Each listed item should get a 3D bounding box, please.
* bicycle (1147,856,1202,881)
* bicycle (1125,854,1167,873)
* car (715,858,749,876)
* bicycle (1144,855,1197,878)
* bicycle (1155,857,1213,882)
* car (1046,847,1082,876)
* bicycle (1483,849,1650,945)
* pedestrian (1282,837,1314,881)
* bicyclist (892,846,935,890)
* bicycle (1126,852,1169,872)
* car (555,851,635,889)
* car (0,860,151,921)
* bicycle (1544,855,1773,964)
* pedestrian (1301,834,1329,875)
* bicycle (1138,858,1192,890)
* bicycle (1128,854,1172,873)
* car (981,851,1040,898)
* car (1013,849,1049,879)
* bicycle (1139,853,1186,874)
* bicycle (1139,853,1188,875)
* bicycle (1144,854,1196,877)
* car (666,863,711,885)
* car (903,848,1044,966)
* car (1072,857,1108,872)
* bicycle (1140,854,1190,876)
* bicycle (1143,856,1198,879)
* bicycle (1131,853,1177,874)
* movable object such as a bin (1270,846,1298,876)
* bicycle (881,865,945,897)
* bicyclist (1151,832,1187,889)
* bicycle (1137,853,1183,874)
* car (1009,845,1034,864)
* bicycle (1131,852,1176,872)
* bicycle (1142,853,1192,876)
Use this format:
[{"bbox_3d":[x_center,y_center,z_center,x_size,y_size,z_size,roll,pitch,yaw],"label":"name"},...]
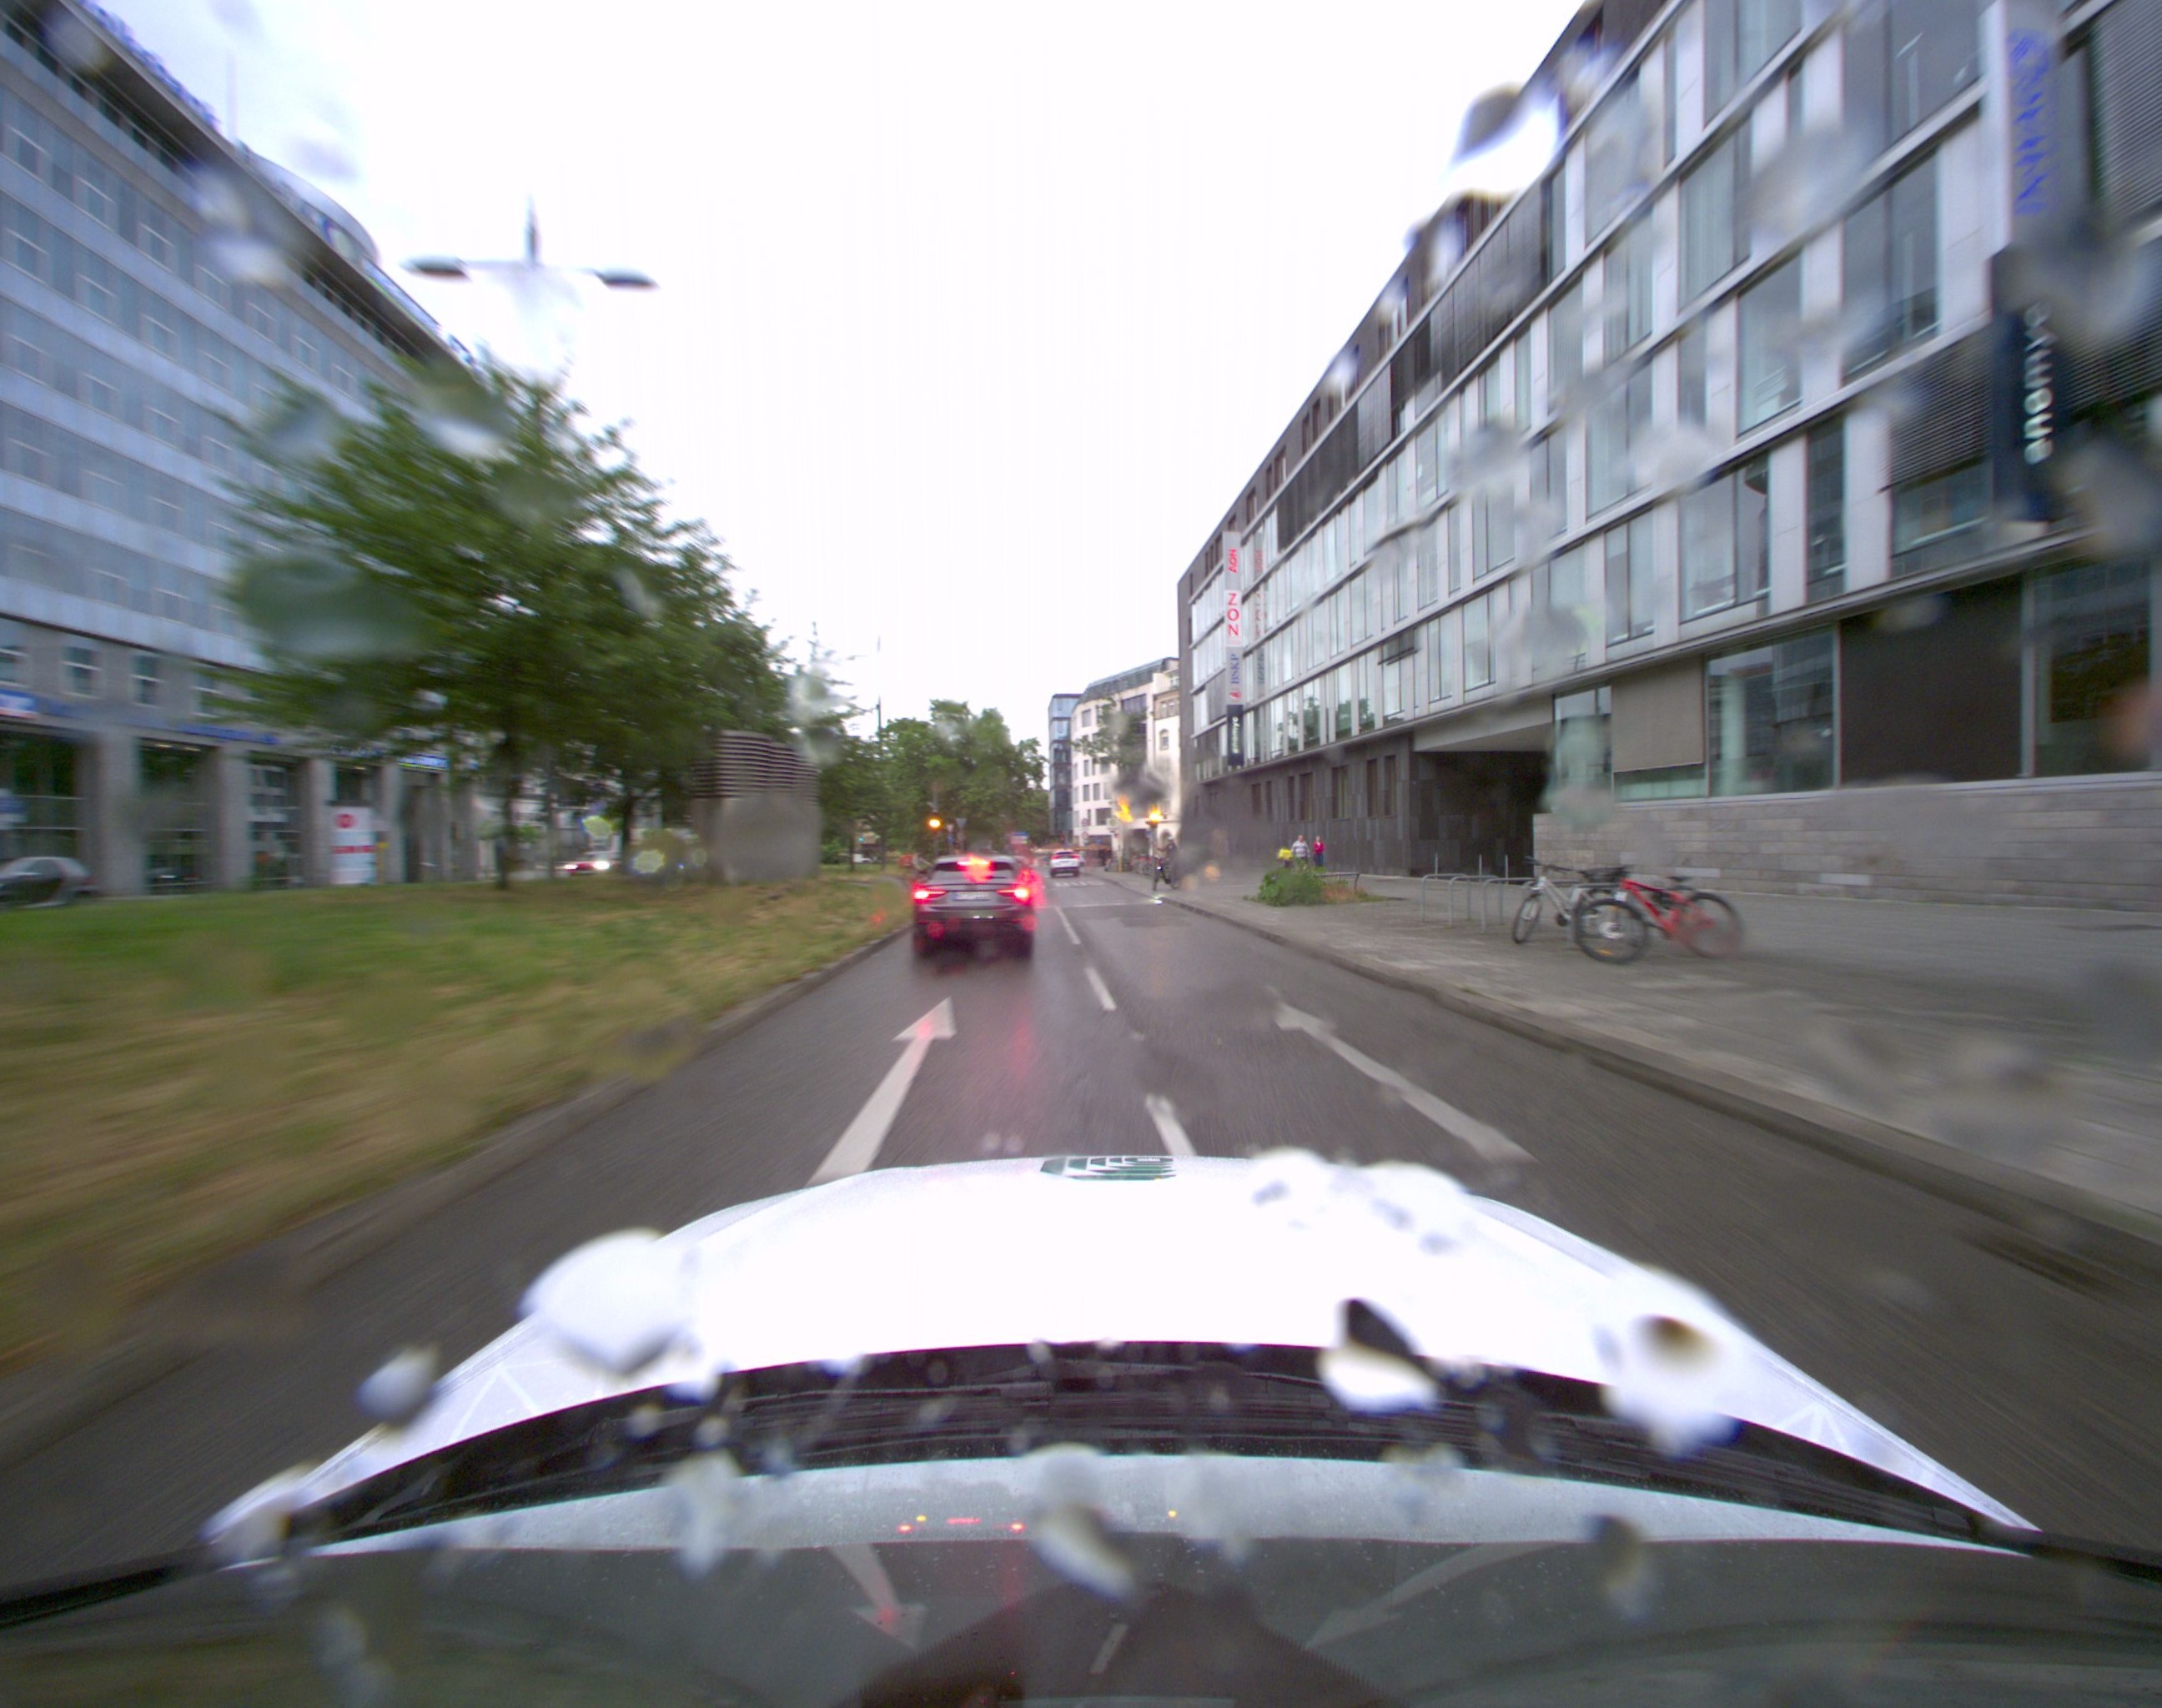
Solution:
[{"bbox_3d":[4.440,0.673,38.734,2.533,1.087,0.676,-1,0,-6],"label":"bicycle"},{"bbox_3d":[4.001,0.558,50.315,2.533,1.087,0.626,-2,0,-6],"label":"bicycle"},{"bbox_3d":[-31.063,1.133,72.584,1.820,1.475,4.178,-1,0,-10],"label":"car"},{"bbox_3d":[4.473,0.608,40.765,2.533,1.087,0.676,-2,0,-6],"label":"bicycle"},{"bbox_3d":[4.700,0.685,37.265,2.533,1.057,0.676,-2,0,-6],"label":"bicycle"},{"bbox_3d":[-1.120,0.449,51.605,2.174,1.700,3.995,-1,0,-3],"label":"car"},{"bbox_3d":[6.558,0.565,11.063,1.829,1.197,0.660,-2,0,1],"label":"bicycle"},{"bbox_3d":[9.262,0.209,34.752,0.899,1.792,1.044,-3,0,-7],"label":"pedestrian"},{"bbox_3d":[-6.198,0.520,30.171,1.123,1.582,1.019,1,-1,17],"label":"bicyclist"},{"bbox_3d":[4.051,0.487,49.595,2.533,1.087,0.676,-2,0,-6],"label":"bicycle"},{"bbox_3d":[-23.226,0.723,39.099,1.945,1.700,3.986,-1,0,-10],"label":"car"},{"bbox_3d":[-26.671,0.906,20.662,1.774,1.401,4.006,-2,1,-7],"label":"car"},{"bbox_3d":[6.466,0.598,9.206,1.976,1.104,0.808,-2,0,1],"label":"bicycle"},{"bbox_3d":[10.034,0.023,34.977,0.717,1.690,1.097,-3,0,-7],"label":"pedestrian"},{"bbox_3d":[3.173,0.743,30.656,2.144,1.145,0.754,-1,-1,-42],"label":"bicycle"},{"bbox_3d":[4.118,0.571,48.849,2.533,1.087,0.676,-2,0,-6],"label":"bicycle"},{"bbox_3d":[-2.772,0.745,32.302,2.158,1.706,4.546,-1,0,-5],"label":"car"},{"bbox_3d":[-2.855,0.554,47.676,1.940,1.646,4.242,-1,0,-2],"label":"car"},{"bbox_3d":[4.535,0.525,45.405,2.533,1.087,0.676,-2,0,-6],"label":"bicycle"},{"bbox_3d":[4.470,0.539,44.206,2.533,1.087,0.676,-2,0,-6],"label":"bicycle"},{"bbox_3d":[4.553,0.599,41.622,2.533,1.087,0.676,-2,0,-6],"label":"bicycle"},{"bbox_3d":[-28.048,1.381,58.250,1.868,1.475,3.986,-1,0,-10],"label":"car"},{"bbox_3d":[-1.592,0.716,13.448,1.843,1.616,4.250,0,1,-1],"label":"car"},{"bbox_3d":[1.083,1.244,97.521,3.986,1.647,1.994,3,0,-9],"label":"car"},{"bbox_3d":[4.464,0.593,43.296,2.533,1.060,0.676,-2,0,-6],"label":"bicycle"},{"bbox_3d":[4.344,0.669,39.535,2.533,1.087,0.676,1,-1,-6],"label":"bicycle"},{"bbox_3d":[4.244,0.552,47.212,2.533,1.087,0.676,-2,0,-6],"label":"bicycle"},{"bbox_3d":[8.987,0.296,36.109,0.730,1.264,1.442,-3,0,-4],"label":"movable object such as a bin"},{"bbox_3d":[-6.196,0.993,30.147,2.044,1.114,1.016,1,-1,18],"label":"bicycle"},{"bbox_3d":[3.320,0.241,30.807,1.091,2.083,0.754,-1,-1,-42],"label":"bicyclist"},{"bbox_3d":[4.502,0.545,46.381,2.533,1.087,0.676,-2,0,-6],"label":"bicycle"},{"bbox_3d":[-5.259,0.051,71.216,1.944,1.646,3.989,-1,0,-8],"label":"car"},{"bbox_3d":[4.259,0.477,47.966,2.533,1.087,0.676,-2,0,-6],"label":"bicycle"},{"bbox_3d":[4.476,0.529,42.431,2.533,1.087,0.676,-2,0,-6],"label":"bicycle"}]
